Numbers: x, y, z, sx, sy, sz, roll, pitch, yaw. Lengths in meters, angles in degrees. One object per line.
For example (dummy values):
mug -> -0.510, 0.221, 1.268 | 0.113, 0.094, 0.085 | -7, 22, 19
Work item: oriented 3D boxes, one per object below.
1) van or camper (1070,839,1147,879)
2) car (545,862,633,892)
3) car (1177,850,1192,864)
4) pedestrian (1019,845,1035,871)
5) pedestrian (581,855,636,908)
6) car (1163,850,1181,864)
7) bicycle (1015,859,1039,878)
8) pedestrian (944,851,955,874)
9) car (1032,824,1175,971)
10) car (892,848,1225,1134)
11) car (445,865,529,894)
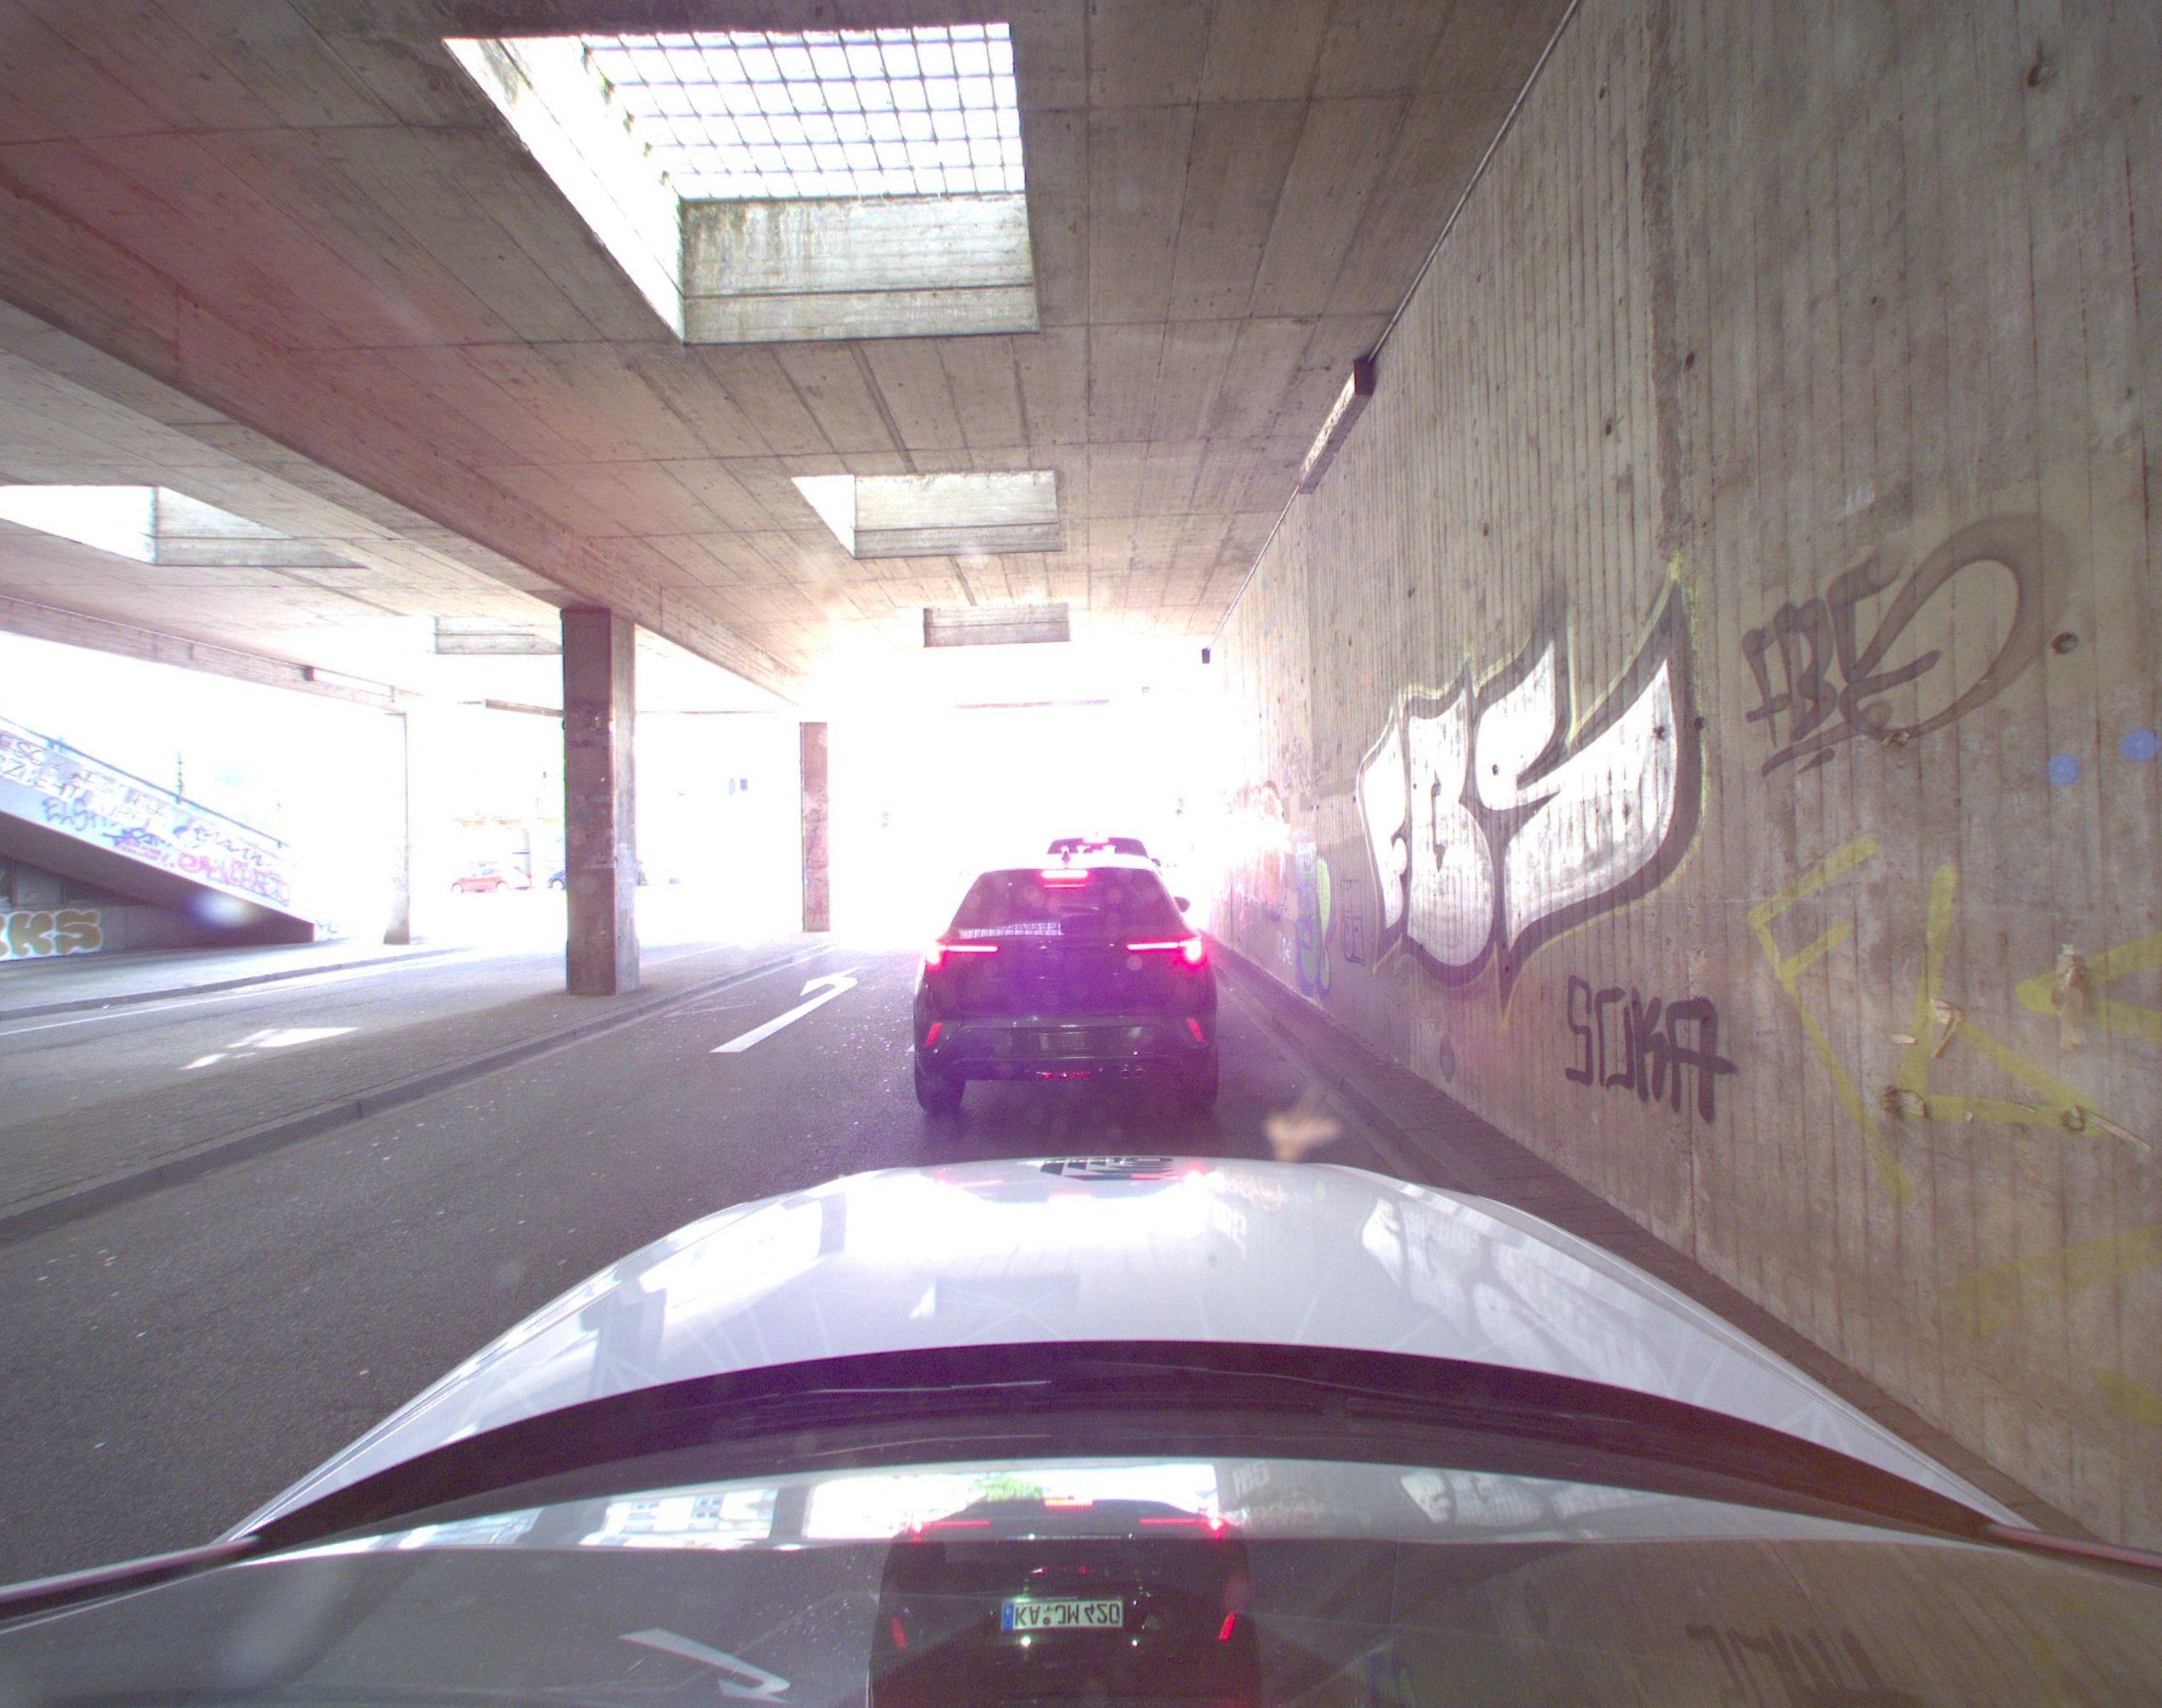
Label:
van or camper -> 1.503, 0.276, 43.693 | 3.854, 2.013, 2.005 | -1, 0, 9
car -> -27.313, 1.248, 45.290 | 3.742, 1.508, 1.752 | -1, 0, 0
car -> 13.092, 0.348, 102.742 | 1.573, 1.640, 3.819 | -1, 0, 12
pedestrian -> -3.401, 0.252, 51.662 | 0.729, 1.585, 0.894 | 0, -1, 18
pedestrian -> -16.107, 0.914, 27.786 | 1.103, 1.737, 1.146 | -1, 0, 15
car -> 9.717, 0.266, 86.976 | 1.588, 1.452, 3.807 | -1, 0, 11
bicycle -> -3.417, 0.886, 51.575 | 0.730, 1.130, 2.036 | -2, 0, 19
pedestrian -> -10.049, 0.648, 62.283 | 0.617, 1.705, 0.726 | 0, -1, 19
car -> 0.351, 0.541, 12.207 | 1.779, 1.833, 3.962 | 0, 0, 2
car -> -0.046, 0.717, 6.282 | 1.746, 1.498, 4.002 | 0, 0, 2
car -> -32.851, 1.393, 45.100 | 3.519, 1.506, 1.563 | -1, 0, 2
